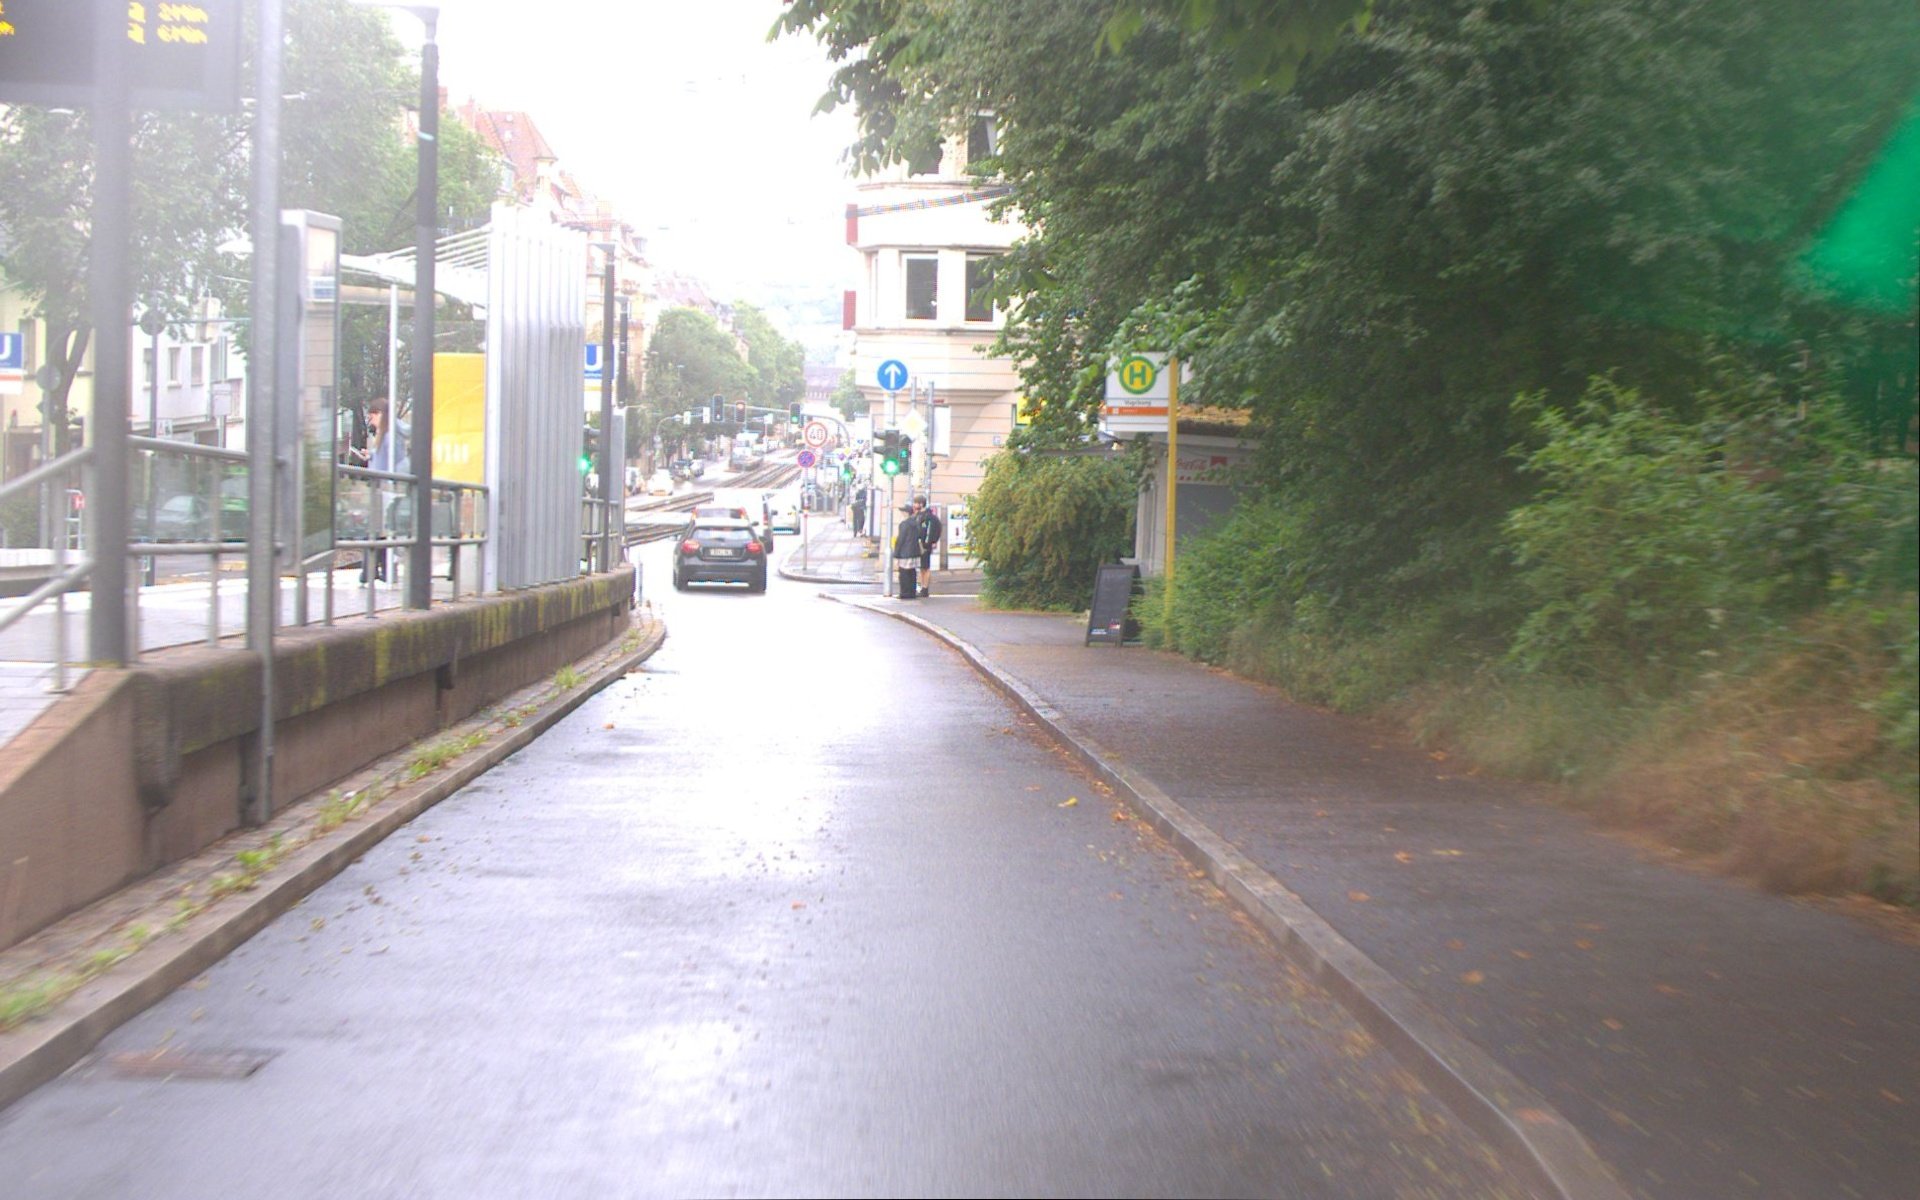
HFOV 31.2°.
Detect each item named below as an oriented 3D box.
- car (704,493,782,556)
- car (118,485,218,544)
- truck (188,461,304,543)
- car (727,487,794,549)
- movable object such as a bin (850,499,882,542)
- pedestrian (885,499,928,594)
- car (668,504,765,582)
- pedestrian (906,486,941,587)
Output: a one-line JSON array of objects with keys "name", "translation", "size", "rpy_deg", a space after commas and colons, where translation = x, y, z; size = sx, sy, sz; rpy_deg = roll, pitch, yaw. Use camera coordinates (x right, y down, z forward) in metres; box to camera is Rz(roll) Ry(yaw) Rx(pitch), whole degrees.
[{"name": "car", "translation": [-5.378, -1.875, 85.308], "size": [1.851, 1.468, 4.001], "rpy_deg": [2, 1, -4]}, {"name": "car", "translation": [-21.502, -2.337, 93.469], "size": [1.726, 1.510, 4.496], "rpy_deg": [1, 2, -1]}, {"name": "truck", "translation": [-21.470, -2.933, 103.622], "size": [2.051, 2.384, 6.321], "rpy_deg": [1, 1, 1]}, {"name": "car", "translation": [-6.070, -2.475, 104.300], "size": [1.948, 1.786, 4.145], "rpy_deg": [2, 1, -4]}, {"name": "movable object such as a bin", "translation": [-3.662, -3.104, 133.772], "size": [1.167, 1.649, 1.309], "rpy_deg": [-1, 2, -6]}, {"name": "pedestrian", "translation": [-0.969, -0.963, 61.879], "size": [0.695, 1.689, 0.556], "rpy_deg": [1, 1, -5]}, {"name": "car", "translation": [-4.843, -1.158, 68.782], "size": [1.851, 1.468, 4.001], "rpy_deg": [1, 2, -3]}, {"name": "pedestrian", "translation": [-0.660, -1.157, 62.513], "size": [0.553, 1.807, 0.651], "rpy_deg": [1, 1, -4]}]
